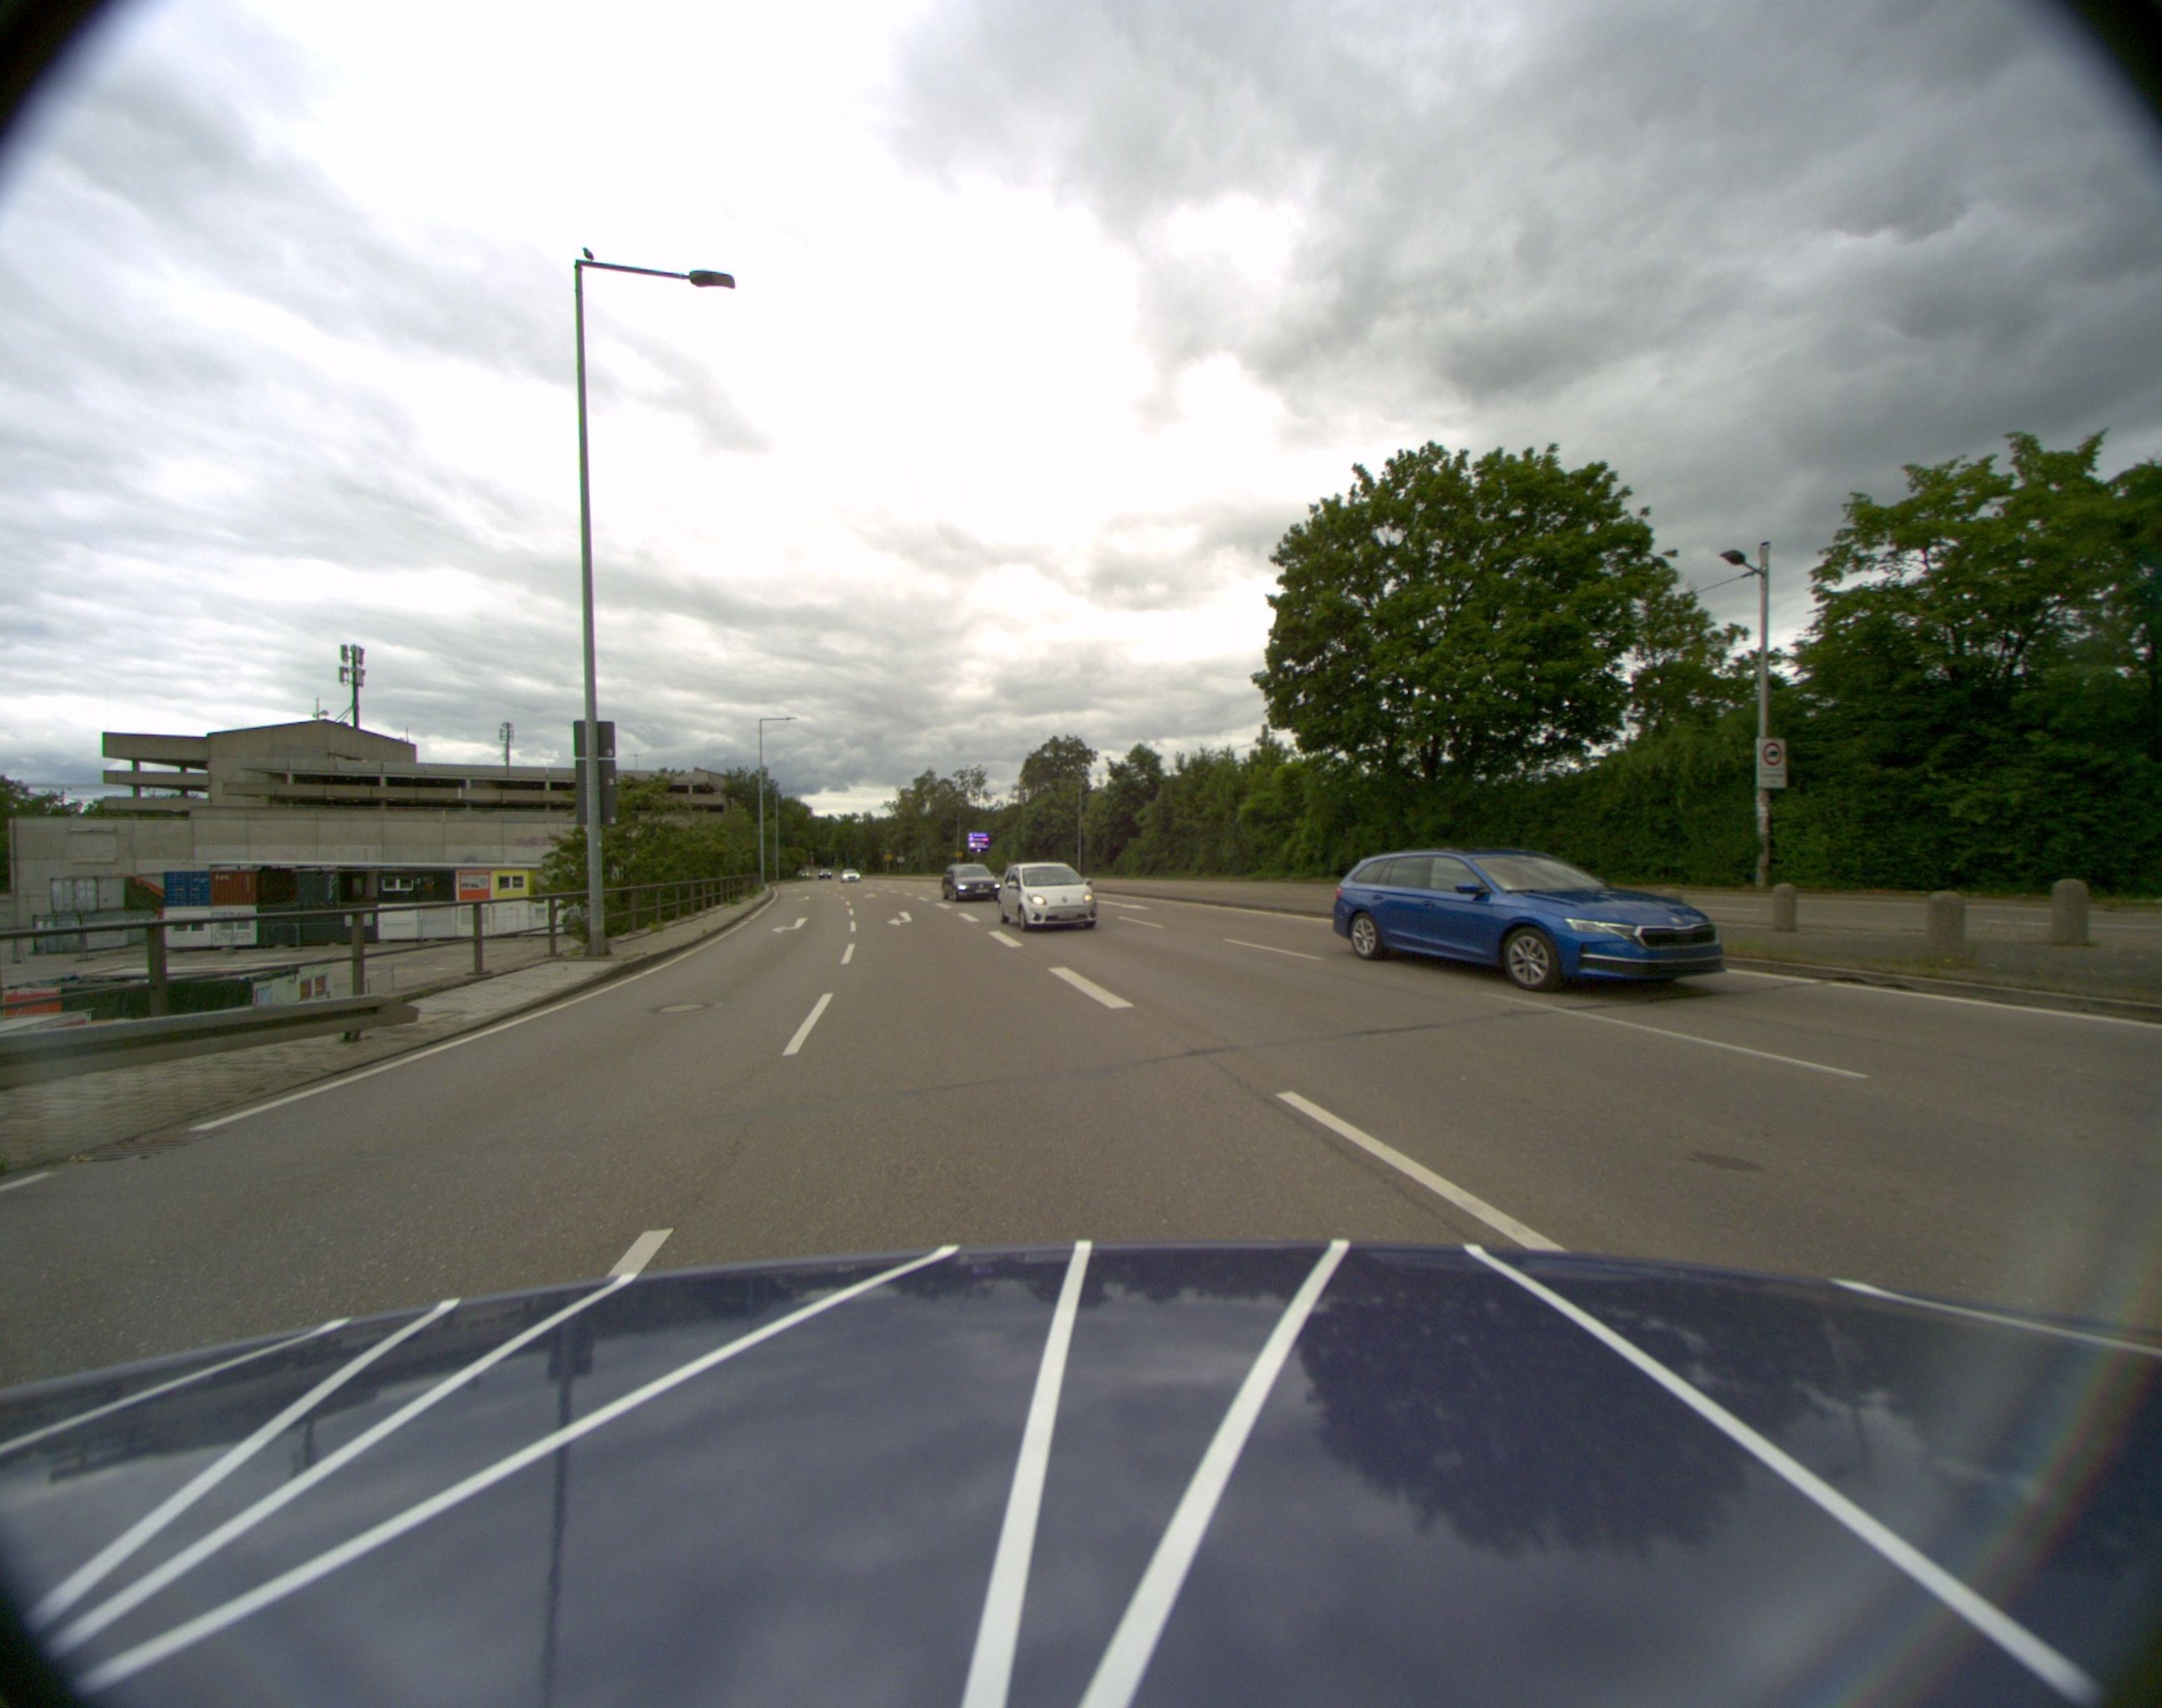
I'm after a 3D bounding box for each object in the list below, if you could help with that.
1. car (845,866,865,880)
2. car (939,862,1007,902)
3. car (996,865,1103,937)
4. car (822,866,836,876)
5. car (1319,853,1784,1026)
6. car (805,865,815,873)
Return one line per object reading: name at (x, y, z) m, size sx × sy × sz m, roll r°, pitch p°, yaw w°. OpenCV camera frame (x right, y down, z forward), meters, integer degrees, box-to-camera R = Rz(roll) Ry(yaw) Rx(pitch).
car at (-25.098, 2.101, 84.329) m, size 1.868 × 1.408 × 4.331 m, roll -2°, pitch 0°, yaw -21°
car at (-4.334, 1.059, 30.042) m, size 1.867 × 1.408 × 4.332 m, roll -2°, pitch 0°, yaw -19°
car at (-0.827, 0.981, 17.389) m, size 1.611 × 1.408 × 3.586 m, roll -2°, pitch 0°, yaw -16°
car at (-40.720, 2.745, 122.650) m, size 1.868 × 1.408 × 4.331 m, roll -2°, pitch 0°, yaw -22°
car at (4.889, 0.740, 8.866) m, size 1.844 × 1.408 × 4.574 m, roll -2°, pitch 0°, yaw -15°
car at (-65.110, 3.607, 182.333) m, size 2.002 × 1.696 × 3.993 m, roll -5°, pitch 0°, yaw -23°
